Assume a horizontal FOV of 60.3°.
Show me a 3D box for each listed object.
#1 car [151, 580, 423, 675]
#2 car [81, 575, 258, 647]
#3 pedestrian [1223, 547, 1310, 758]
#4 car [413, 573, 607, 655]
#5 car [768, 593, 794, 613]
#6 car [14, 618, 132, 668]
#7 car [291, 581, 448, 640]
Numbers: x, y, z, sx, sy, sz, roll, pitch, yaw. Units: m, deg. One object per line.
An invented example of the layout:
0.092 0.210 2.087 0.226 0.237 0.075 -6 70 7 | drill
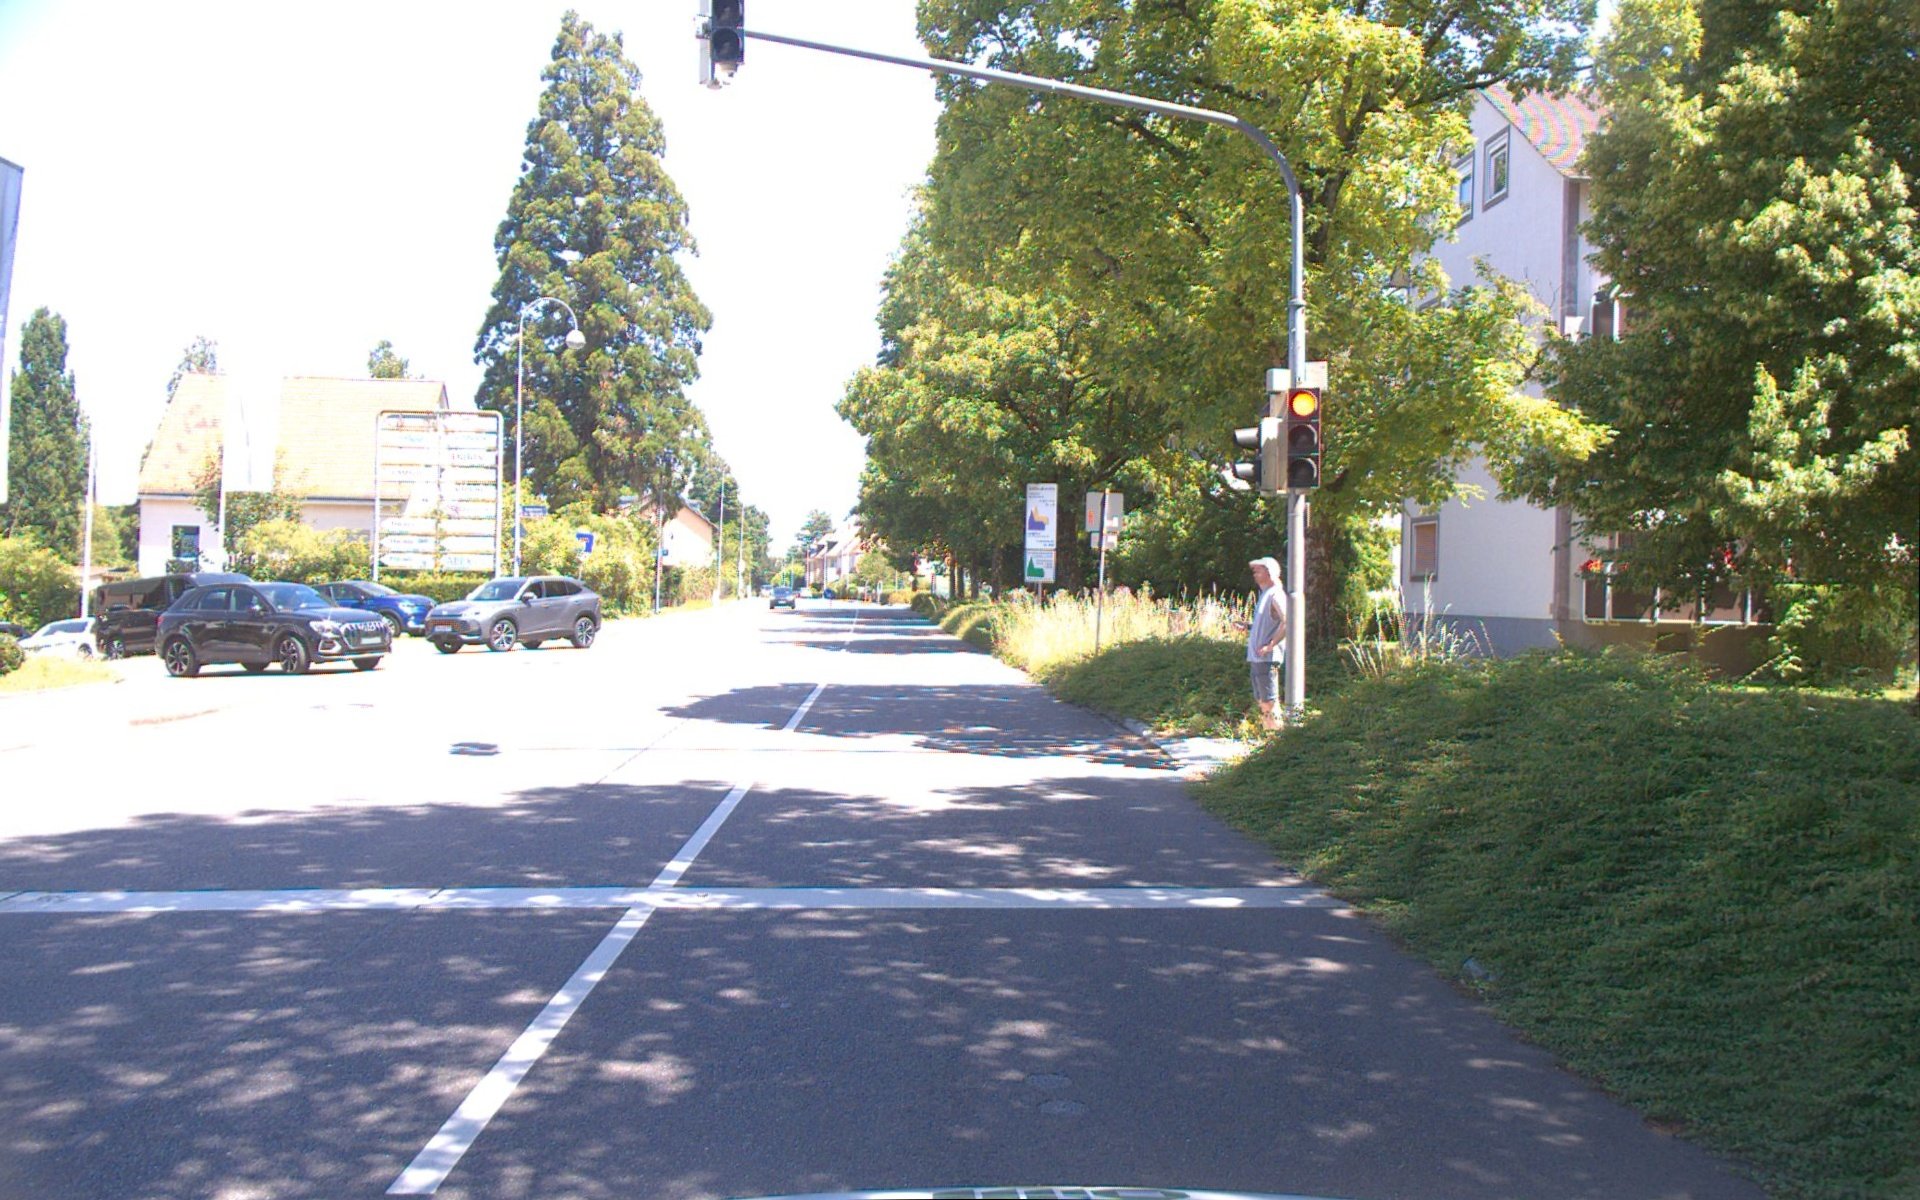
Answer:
-11.703 0.481 28.787 4.204 1.553 1.929 -1 0 21 | car
-18.593 0.251 39.033 3.425 1.645 1.598 0 0 -8 | car
2.653 0.449 14.355 0.550 1.781 0.614 1 0 -9 | pedestrian
-10.213 0.289 37.832 1.843 1.747 4.304 1 0 28 | car
-12.346 0.180 114.065 1.402 1.345 3.354 1 0 -1 | car
-24.419 1.164 45.670 1.713 1.247 3.240 1 1 -5 | car
-14.733 0.246 41.391 3.425 1.452 1.598 0 0 -8 | car
